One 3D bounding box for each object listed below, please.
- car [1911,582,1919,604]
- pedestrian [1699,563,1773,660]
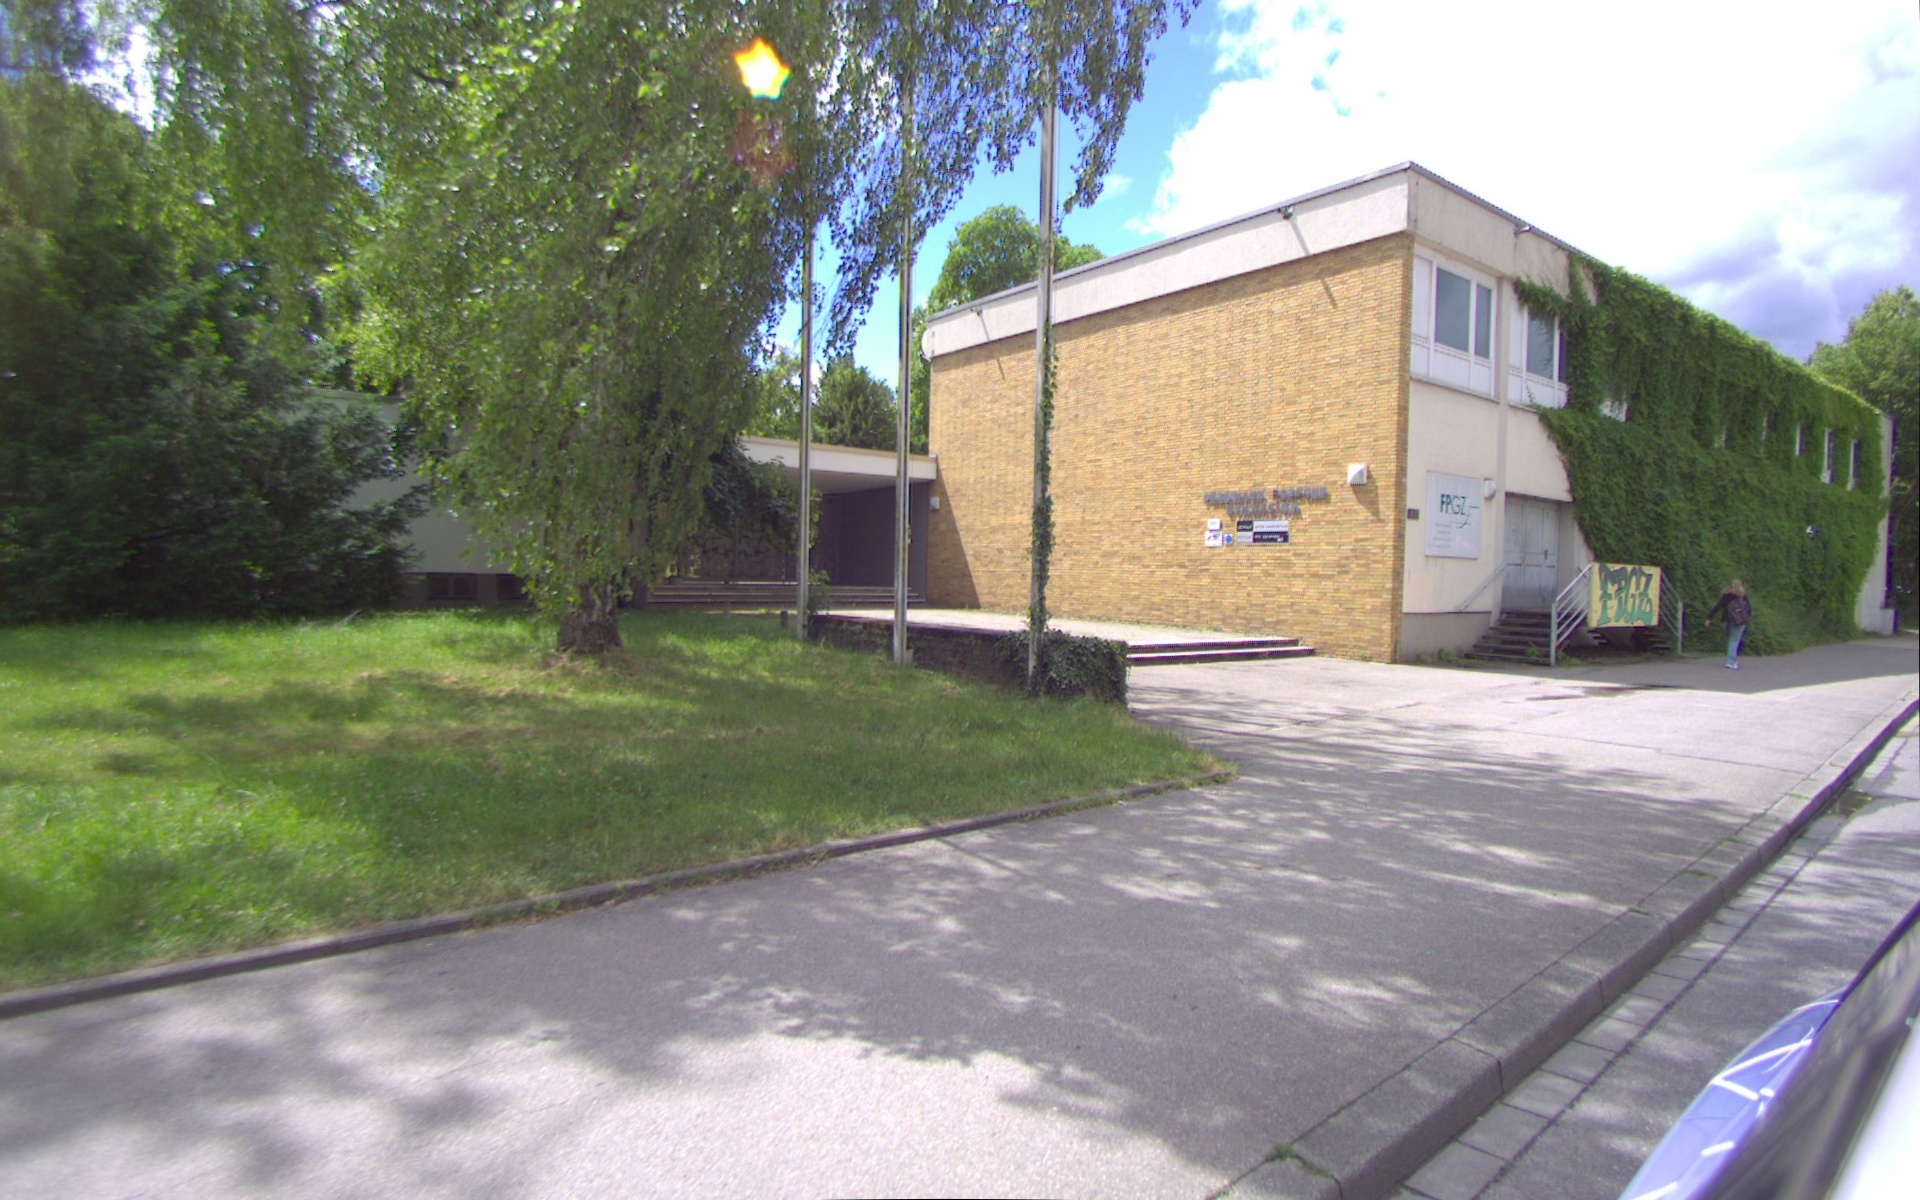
[{"bbox_3d":[69.625,-0.502,72.677,4.156,1.561,1.753,-1,1,-44],"label":"car"},{"bbox_3d":[14.897,0.204,19.427,0.800,1.792,0.813,0,4,-33],"label":"pedestrian"}]
